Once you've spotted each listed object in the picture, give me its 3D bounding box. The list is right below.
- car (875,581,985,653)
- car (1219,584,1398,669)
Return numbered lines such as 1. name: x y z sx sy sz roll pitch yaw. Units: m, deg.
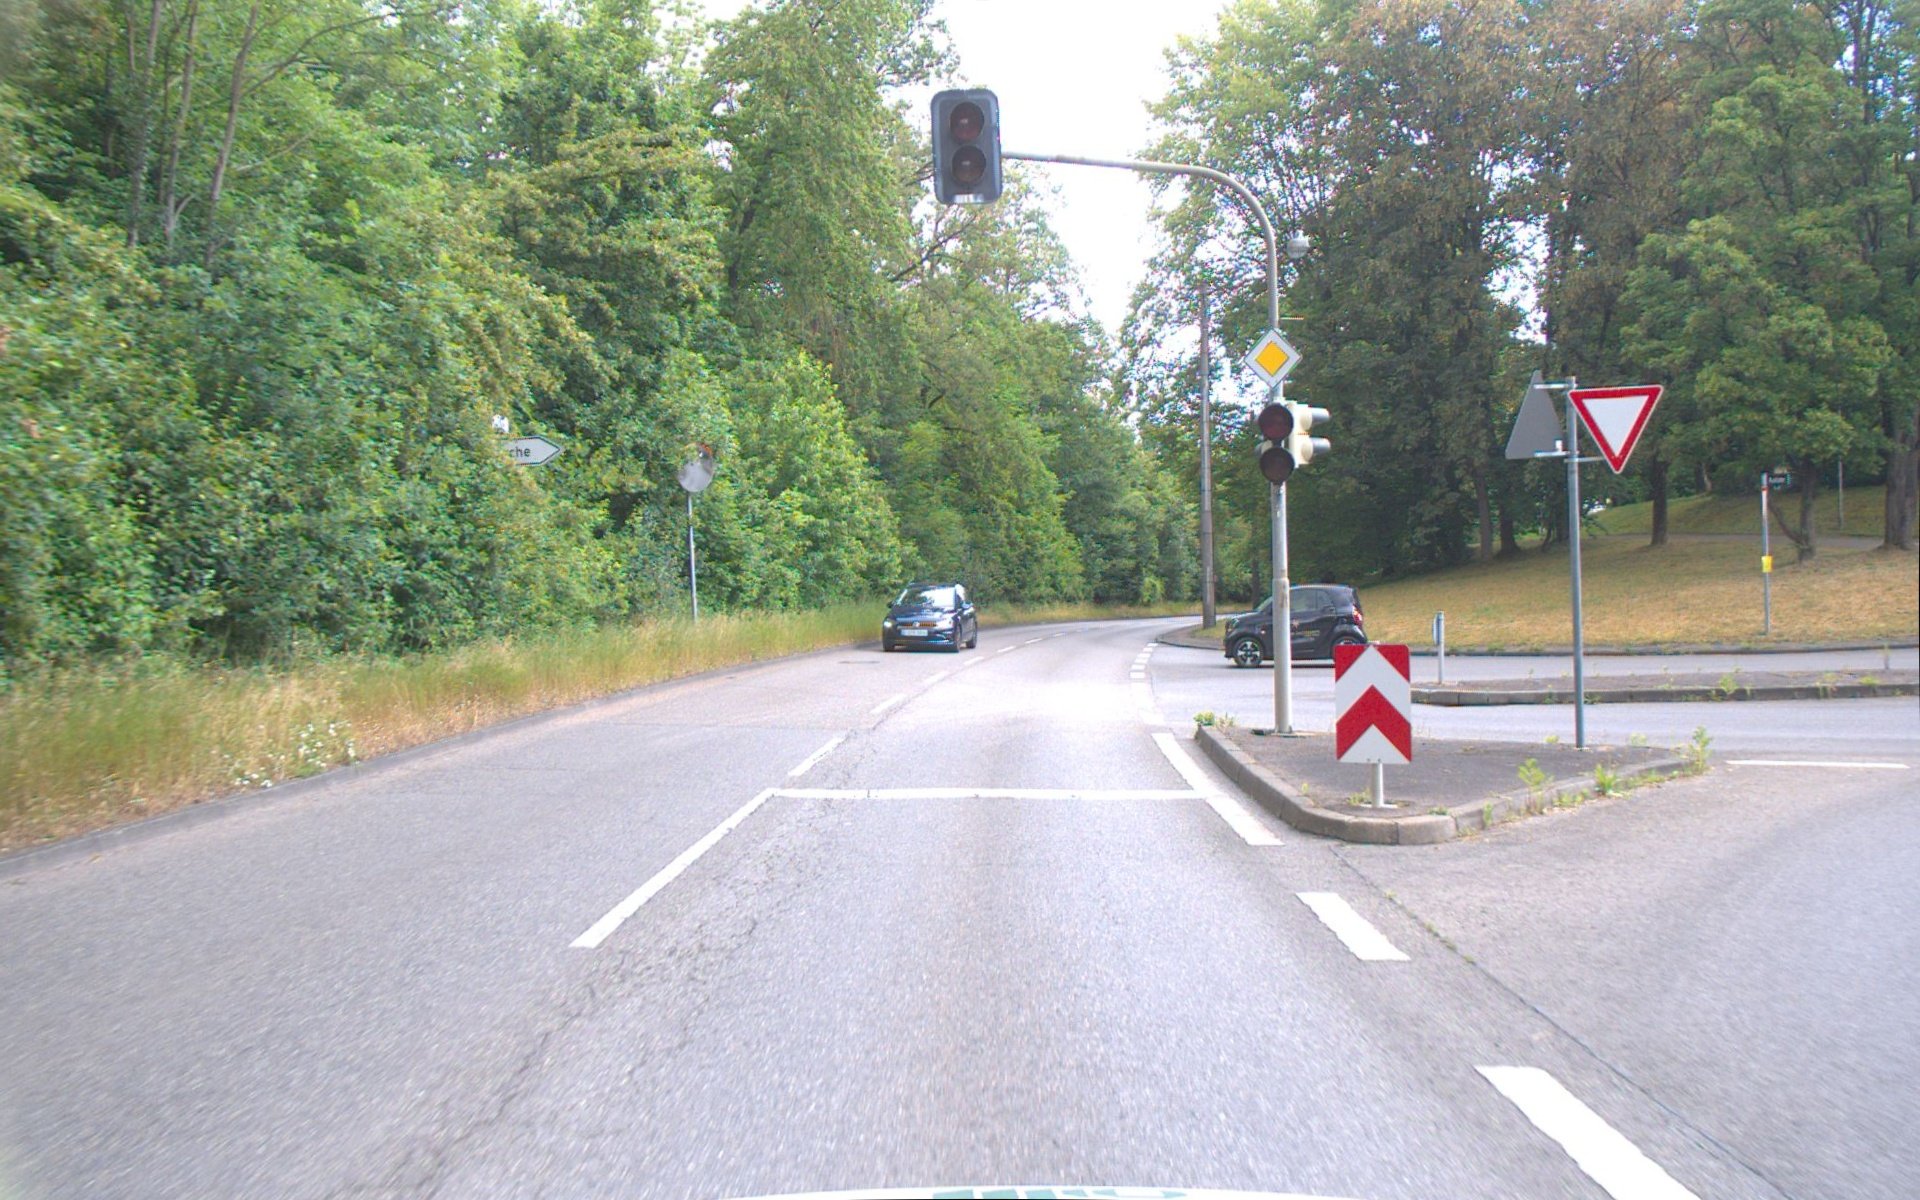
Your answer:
1. car: -0.628 0.365 38.920 1.751 1.541 4.846 1 0 9
2. car: 6.608 0.495 31.549 3.233 1.521 1.669 -1 0 10
